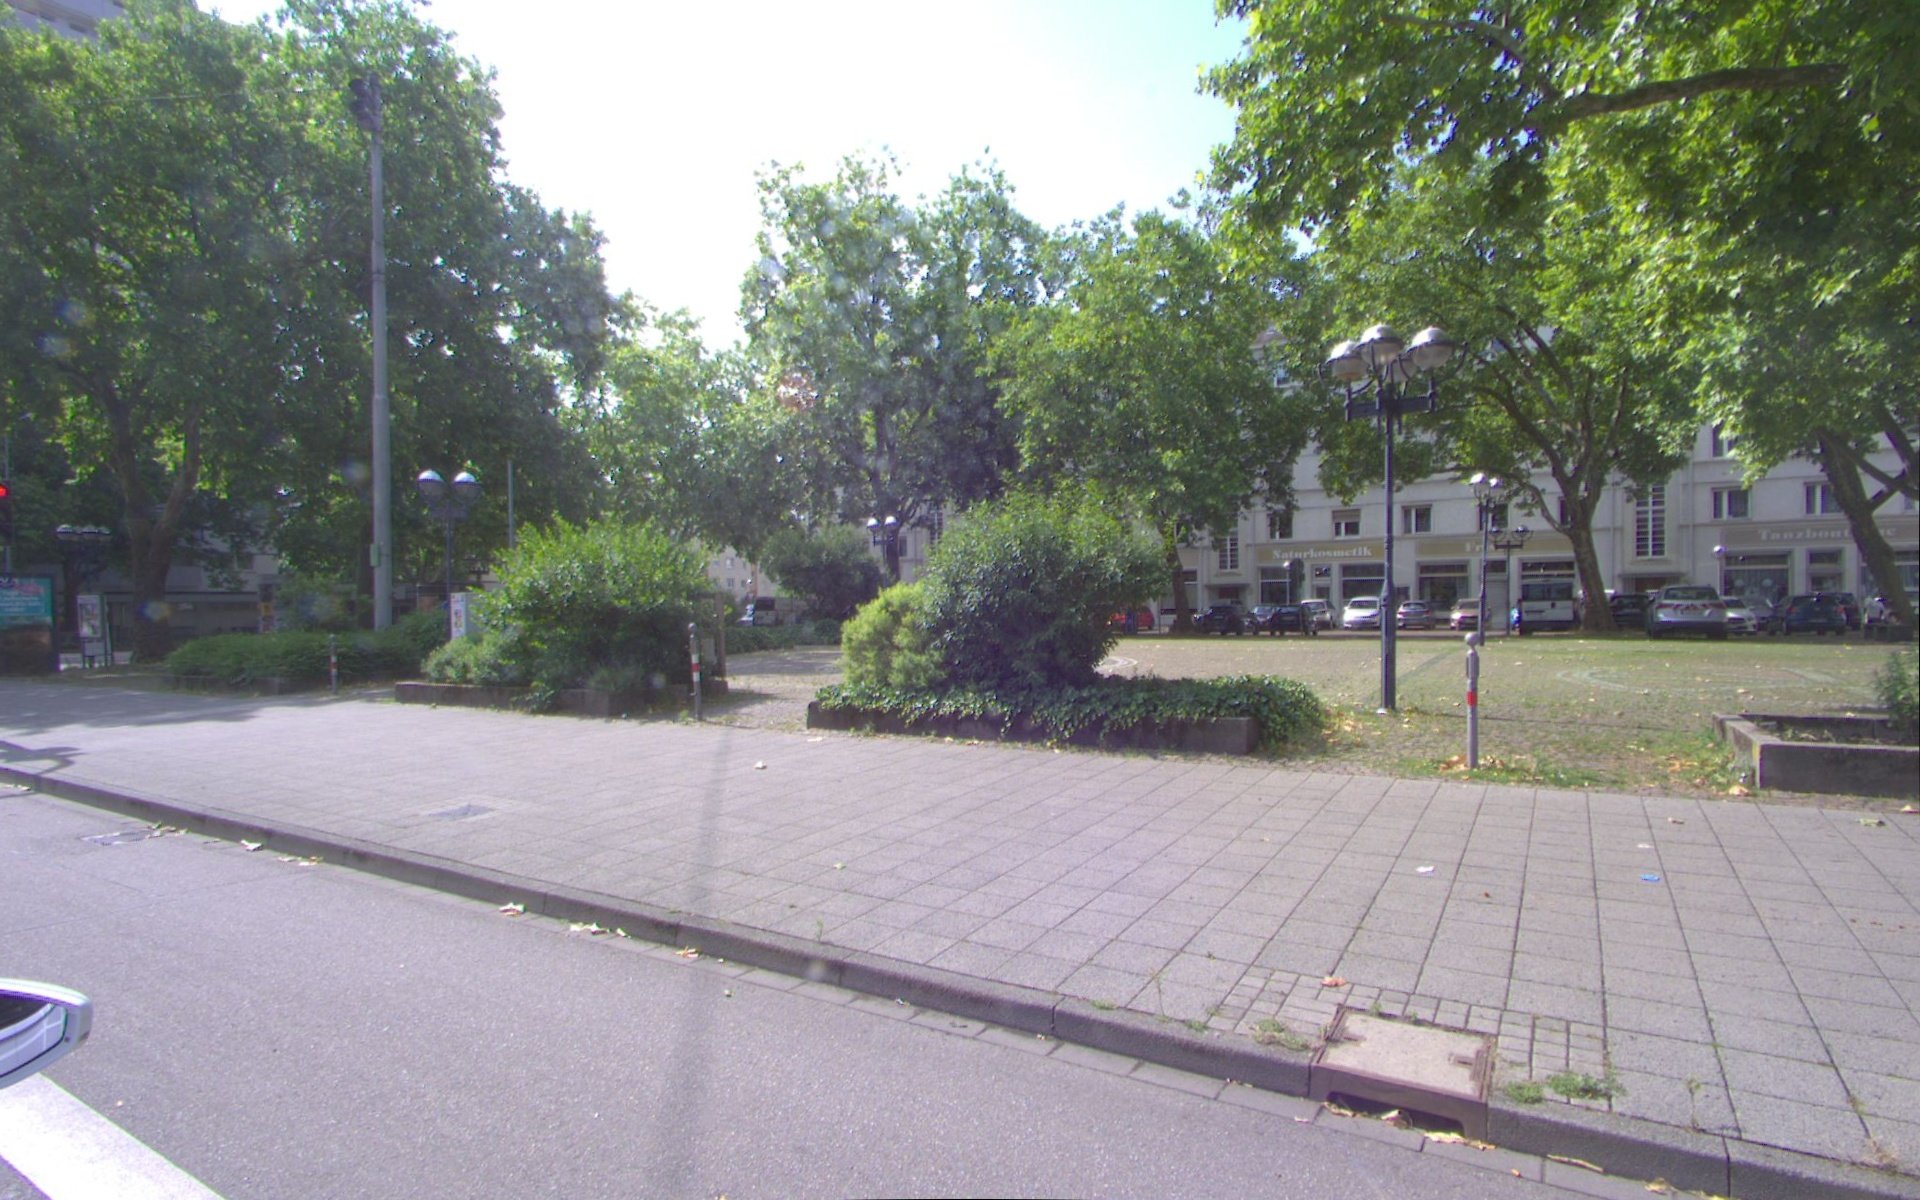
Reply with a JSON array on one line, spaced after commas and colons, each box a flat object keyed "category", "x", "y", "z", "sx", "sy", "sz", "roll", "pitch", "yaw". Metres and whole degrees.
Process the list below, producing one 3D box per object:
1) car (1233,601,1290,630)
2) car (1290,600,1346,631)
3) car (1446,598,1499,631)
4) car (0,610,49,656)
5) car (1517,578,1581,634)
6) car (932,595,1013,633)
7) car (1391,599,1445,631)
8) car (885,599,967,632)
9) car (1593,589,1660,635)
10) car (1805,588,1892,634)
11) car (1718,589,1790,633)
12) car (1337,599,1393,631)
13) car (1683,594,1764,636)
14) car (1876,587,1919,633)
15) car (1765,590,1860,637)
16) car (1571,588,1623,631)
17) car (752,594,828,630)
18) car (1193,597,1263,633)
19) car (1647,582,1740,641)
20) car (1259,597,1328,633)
[{"category": "car", "x": 16.782, "y": 0.851, "z": 55.618, "sx": 1.958, "sy": 1.541, "sz": 4.245, "roll": -1, "pitch": 0, "yaw": 32}, {"category": "car", "x": 19.415, "y": 0.805, "z": 54.141, "sx": 1.958, "sy": 1.570, "sz": 4.415, "roll": -1, "pitch": 0, "yaw": 32}, {"category": "car", "x": 25.858, "y": 0.711, "z": 50.437, "sx": 2.009, "sy": 1.570, "sz": 4.671, "roll": -1, "pitch": 0, "yaw": 32}, {"category": "car", "x": -34.727, "y": 1.174, "z": 34.707, "sx": 1.828, "sy": 1.623, "sz": 4.492, "roll": -1, "pitch": 0, "yaw": 9}, {"category": "car", "x": 23.052, "y": 0.219, "z": 39.130, "sx": 2.047, "sy": 2.040, "sz": 4.245, "roll": 0, "pitch": 0, "yaw": 32}, {"category": "car", "x": 0.743, "y": 0.727, "z": 54.031, "sx": 2.161, "sy": 1.955, "sz": 4.668, "roll": 0, "pitch": 0, "yaw": 34}, {"category": "car", "x": 23.732, "y": 0.738, "z": 51.750, "sx": 1.958, "sy": 1.570, "sz": 4.671, "roll": -1, "pitch": 0, "yaw": 32}, {"category": "car", "x": -1.805, "y": 0.834, "z": 55.098, "sx": 2.161, "sy": 1.729, "sz": 4.668, "roll": 0, "pitch": 0, "yaw": 34}, {"category": "car", "x": 25.142, "y": 0.430, "z": 37.888, "sx": 1.971, "sy": 1.615, "sz": 4.245, "roll": -1, "pitch": 0, "yaw": 32}, {"category": "car", "x": 37.628, "y": 0.426, "z": 42.548, "sx": 2.161, "sy": 1.828, "sz": 4.668, "roll": 0, "pitch": 0, "yaw": 34}, {"category": "car", "x": 35.276, "y": 0.468, "z": 44.618, "sx": 2.161, "sy": 1.828, "sz": 4.730, "roll": 0, "pitch": 0, "yaw": 34}, {"category": "car", "x": 21.380, "y": 0.756, "z": 52.711, "sx": 1.958, "sy": 1.570, "sz": 4.671, "roll": -1, "pitch": 0, "yaw": 32}, {"category": "car", "x": 27.297, "y": 0.504, "z": 35.912, "sx": 1.931, "sy": 1.440, "sz": 4.156, "roll": -1, "pitch": 0, "yaw": 32}, {"category": "car", "x": 39.585, "y": 0.367, "z": 41.149, "sx": 2.161, "sy": 1.828, "sz": 4.730, "roll": 0, "pitch": 0, "yaw": 34}, {"category": "car", "x": 30.034, "y": 0.455, "z": 35.411, "sx": 1.971, "sy": 1.544, "sz": 4.143, "roll": -1, "pitch": 0, "yaw": 32}, {"category": "car", "x": 30.349, "y": 0.421, "z": 47.745, "sx": 2.009, "sy": 1.955, "sz": 4.671, "roll": 0, "pitch": 0, "yaw": 32}, {"category": "car", "x": -10.149, "y": 0.704, "z": 60.006, "sx": 2.048, "sy": 2.040, "sz": 4.403, "roll": 0, "pitch": 0, "yaw": 33}, {"category": "car", "x": 12.417, "y": 0.661, "z": 46.146, "sx": 1.958, "sy": 1.541, "sz": 4.245, "roll": -1, "pitch": 0, "yaw": 32}, {"category": "car", "x": 22.035, "y": 0.318, "z": 30.231, "sx": 1.971, "sy": 1.657, "sz": 4.143, "roll": 0, "pitch": 0, "yaw": 32}, {"category": "car", "x": 14.899, "y": 0.643, "z": 44.641, "sx": 1.958, "sy": 1.541, "sz": 4.245, "roll": -1, "pitch": 0, "yaw": 32}]
